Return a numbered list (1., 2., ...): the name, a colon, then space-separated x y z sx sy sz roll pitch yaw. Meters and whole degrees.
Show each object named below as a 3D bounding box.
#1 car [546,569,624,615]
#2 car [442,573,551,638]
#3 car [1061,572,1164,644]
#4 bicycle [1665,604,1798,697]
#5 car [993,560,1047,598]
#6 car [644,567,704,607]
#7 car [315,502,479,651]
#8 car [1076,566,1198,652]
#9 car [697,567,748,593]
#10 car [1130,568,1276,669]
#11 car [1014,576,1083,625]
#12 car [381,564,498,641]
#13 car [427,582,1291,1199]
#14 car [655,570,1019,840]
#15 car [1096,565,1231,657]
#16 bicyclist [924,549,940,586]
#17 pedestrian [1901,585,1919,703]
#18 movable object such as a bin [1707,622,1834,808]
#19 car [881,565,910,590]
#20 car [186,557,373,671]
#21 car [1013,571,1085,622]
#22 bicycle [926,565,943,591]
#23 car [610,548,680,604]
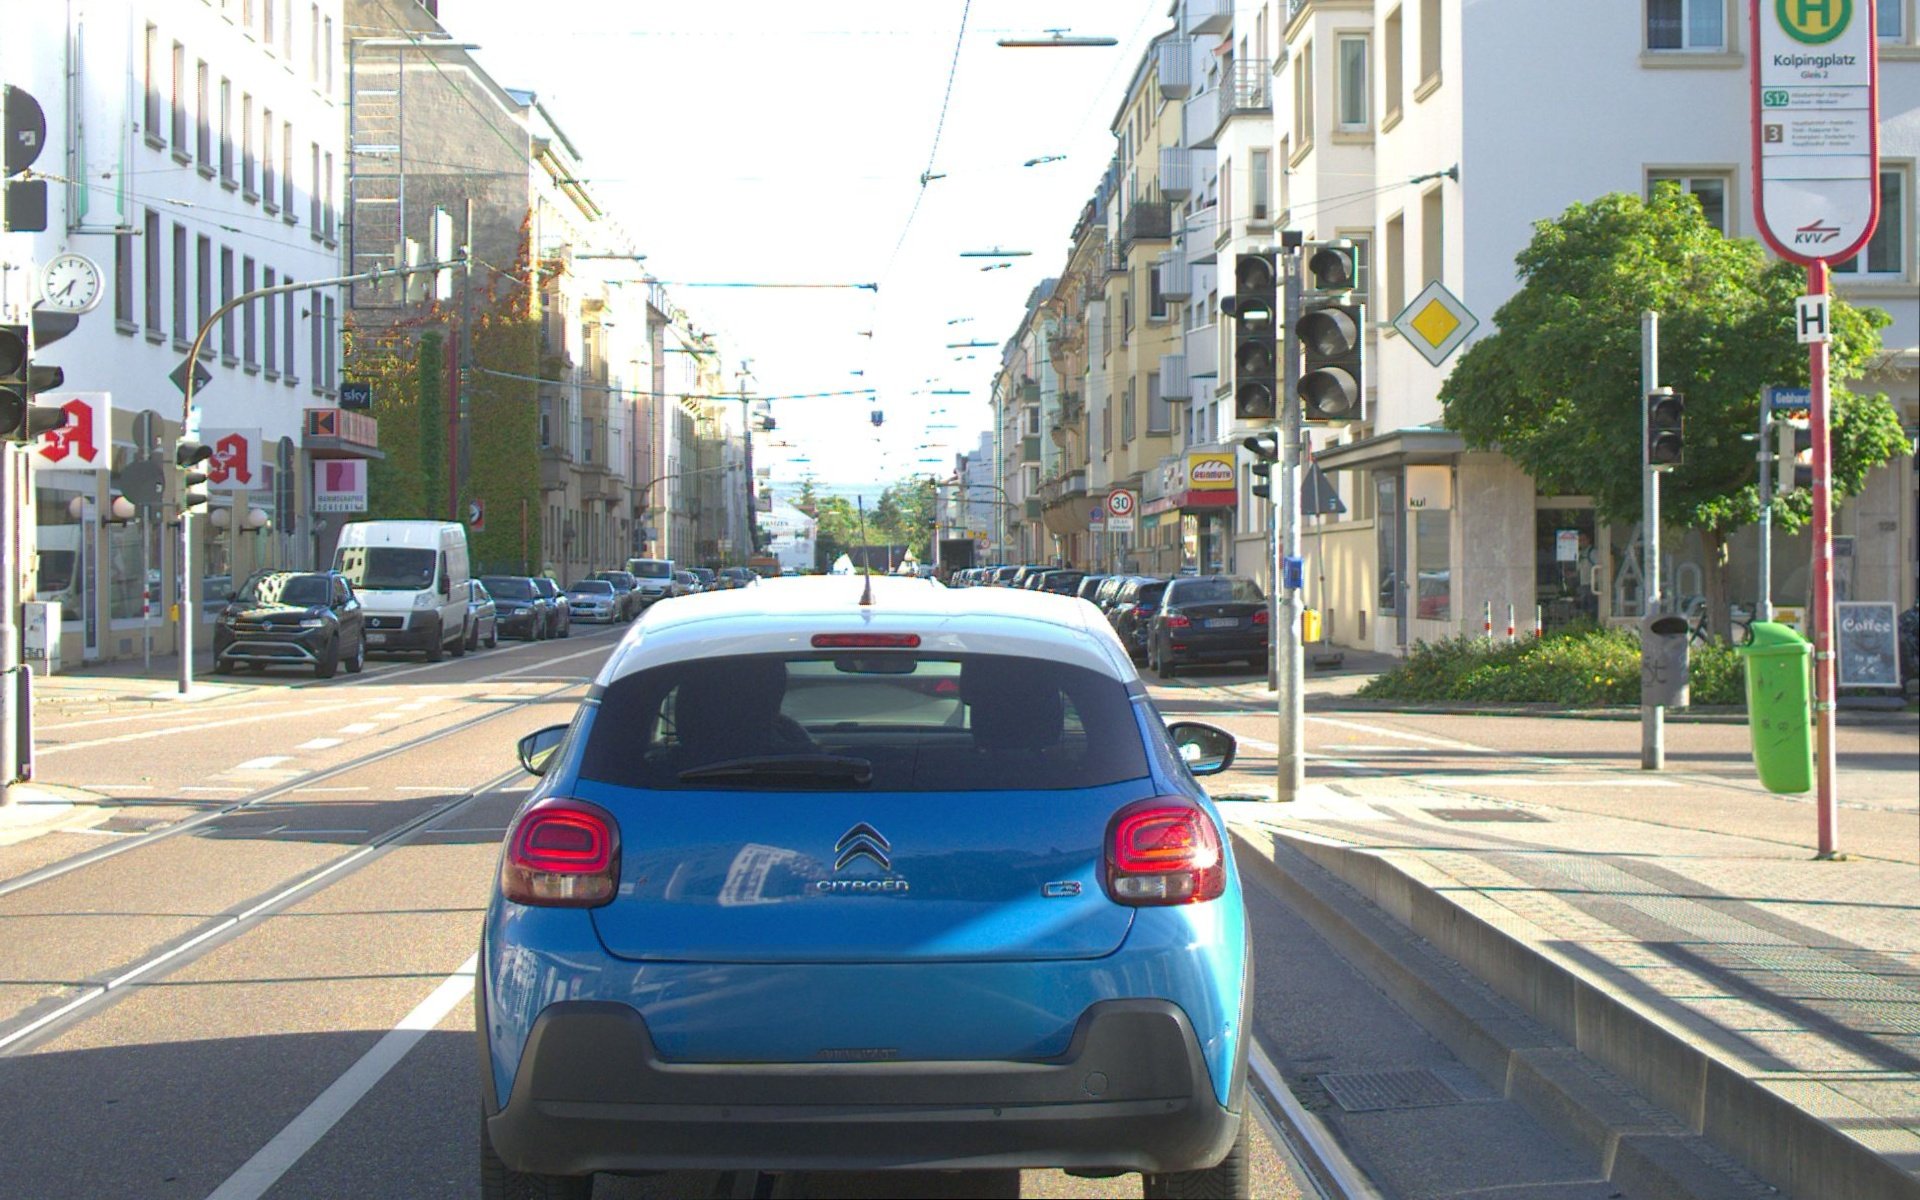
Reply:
1. car: -11.153 -0.225 102.565 1.993 1.320 3.923 1 0 -2
2. car: -10.393 0.113 77.414 1.993 1.393 4.157 1 0 -2
3. car: 3.186 0.150 72.514 1.993 1.459 4.000 0 0 0
4. bicycle: 9.408 0.613 41.951 1.568 1.117 0.300 1 0 11
5. car: 2.303 -0.815 132.704 1.993 1.459 4.000 0 0 0
6. car: -11.333 -0.516 136.394 1.955 1.547 3.938 1 0 2
7. car: -10.096 -0.431 62.108 2.085 2.533 6.206 1 0 -2
8. car: 3.167 0.136 62.160 1.993 1.496 4.000 0 0 0
9. car: -10.584 -0.902 153.619 1.993 1.152 4.000 0 0 0
10. car: 3.622 0.252 51.754 1.909 1.459 4.000 0 0 0
11. car: 2.705 -0.012 105.609 1.993 1.459 4.000 0 0 0
12. car: -10.388 0.051 68.865 1.888 1.491 3.562 1 0 -2
13. car: -0.232 0.709 8.844 1.728 1.477 3.827 1 0 -1
14. car: -0.710 0.555 21.301 1.984 1.459 4.816 1 1 -1
15. car: 3.327 0.165 56.937 1.993 1.459 4.000 0 0 0
16. bicyclist: -1.540 -1.785 188.343 0.809 2.007 0.922 1 0 -2
17. pedestrian: 10.912 0.486 38.323 0.741 1.311 0.627 0 0 23
18. movable object such as a bin: 3.510 0.492 14.914 0.449 0.783 0.489 0 0 2
19. car: -4.544 -1.605 241.607 1.993 1.766 4.000 0 1 -1
20. car: -10.178 0.200 51.750 1.993 1.563 4.403 3 0 -2
21. car: 2.593 -0.115 101.411 1.993 1.459 4.504 0 0 0
22. bicycle: -1.407 -1.209 188.516 0.920 1.384 3.132 0 1 0
23. car: -11.524 -0.862 126.094 2.006 2.007 4.689 1 0 1
